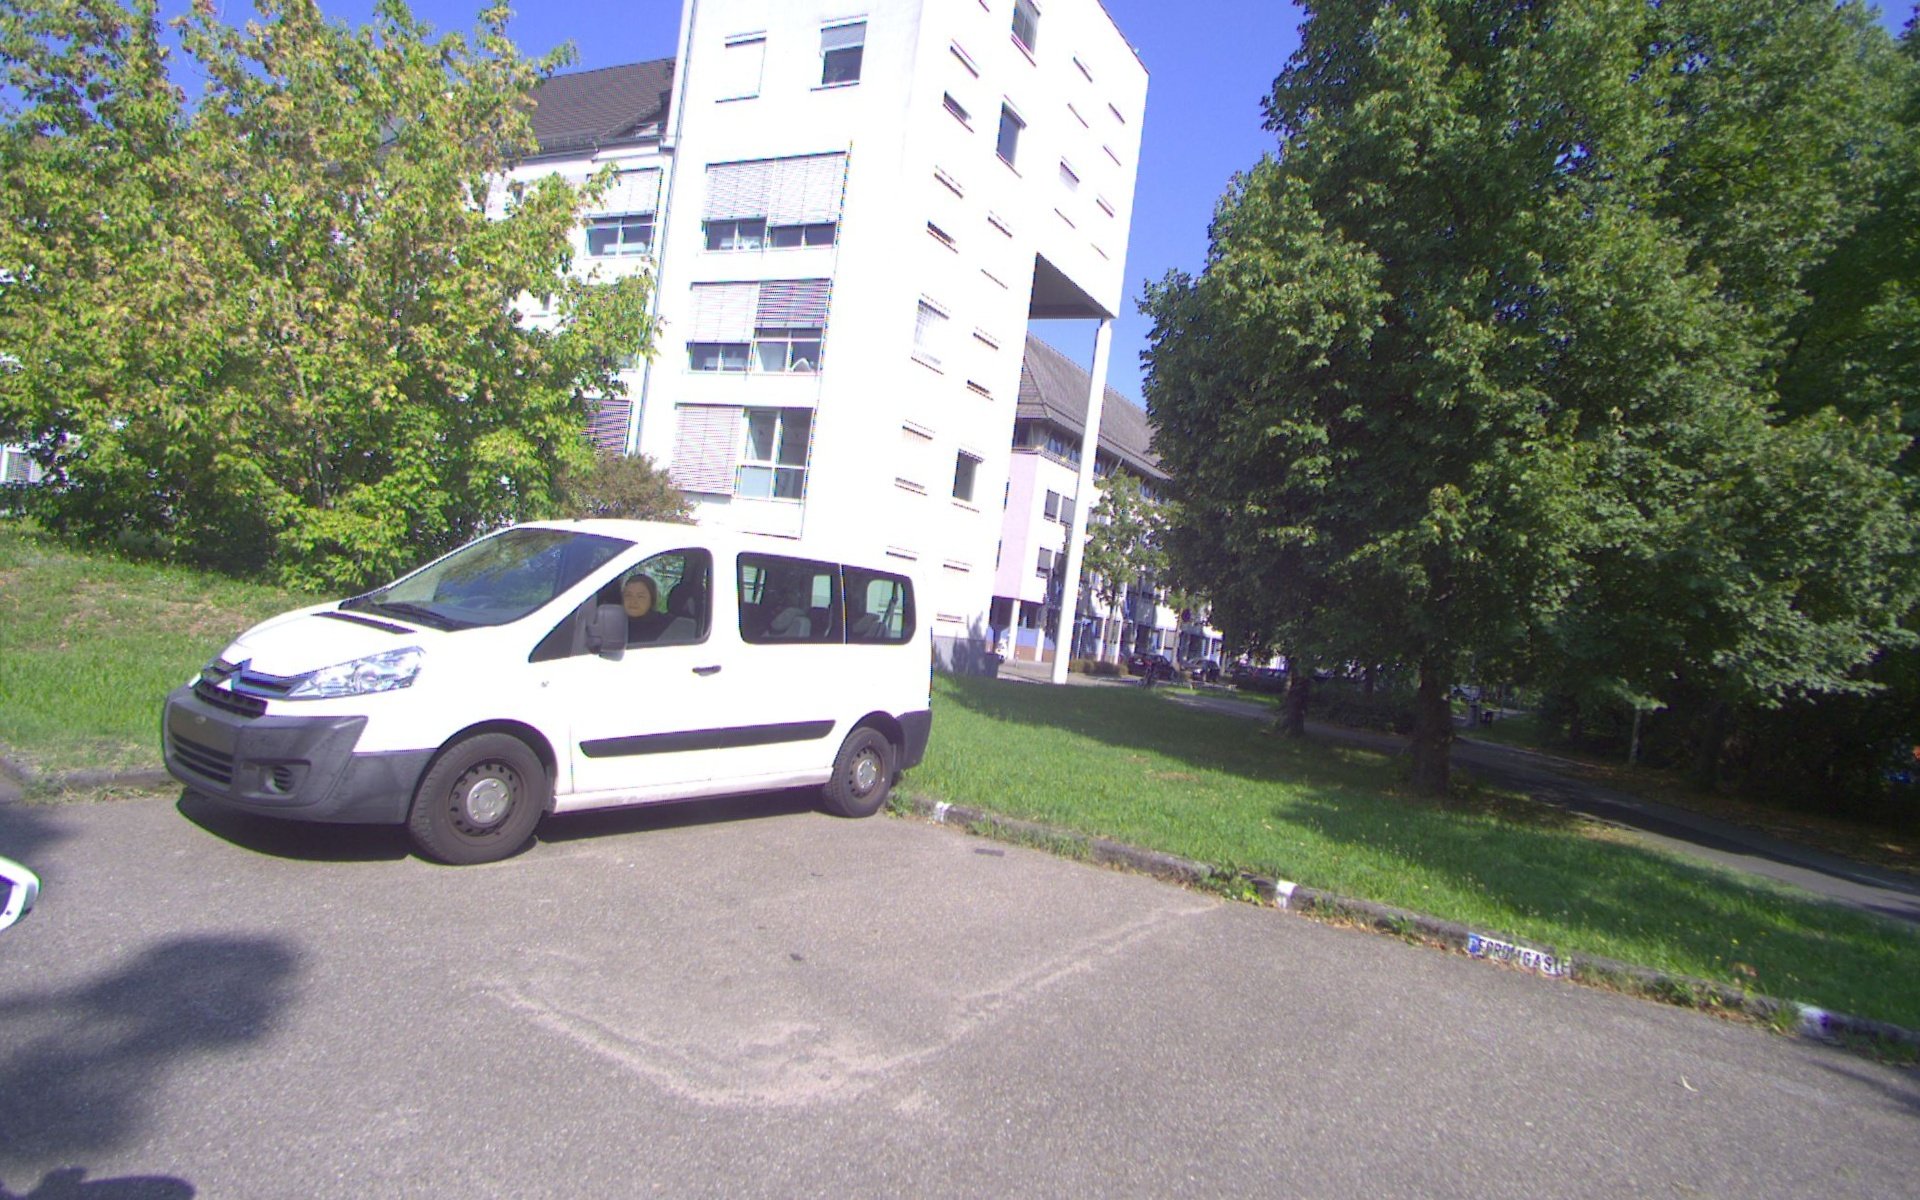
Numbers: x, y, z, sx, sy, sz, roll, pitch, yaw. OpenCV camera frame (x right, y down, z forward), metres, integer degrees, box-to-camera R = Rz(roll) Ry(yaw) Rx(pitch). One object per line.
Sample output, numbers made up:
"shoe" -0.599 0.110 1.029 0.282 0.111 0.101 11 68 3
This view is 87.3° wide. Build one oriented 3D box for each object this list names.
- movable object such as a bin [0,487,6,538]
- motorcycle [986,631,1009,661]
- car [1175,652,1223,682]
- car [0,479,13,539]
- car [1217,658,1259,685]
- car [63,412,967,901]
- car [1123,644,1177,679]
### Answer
"movable object such as a bin" -14.991 -1.106 14.644 1.058 1.356 1.229 7 -1 28
"motorcycle" 1.760 2.145 47.082 0.694 1.279 2.764 8 -1 7
"car" 15.690 4.404 65.853 1.737 1.619 3.993 7 -1 32
"car" -27.713 -2.729 26.262 1.846 1.607 3.872 7 -1 27
"car" 20.485 5.259 74.021 1.737 1.619 3.993 7 -1 32
"car" -2.247 0.389 6.597 2.011 1.943 4.964 6 -2 34
"car" 11.045 3.584 58.281 1.736 1.619 3.995 7 -1 30
